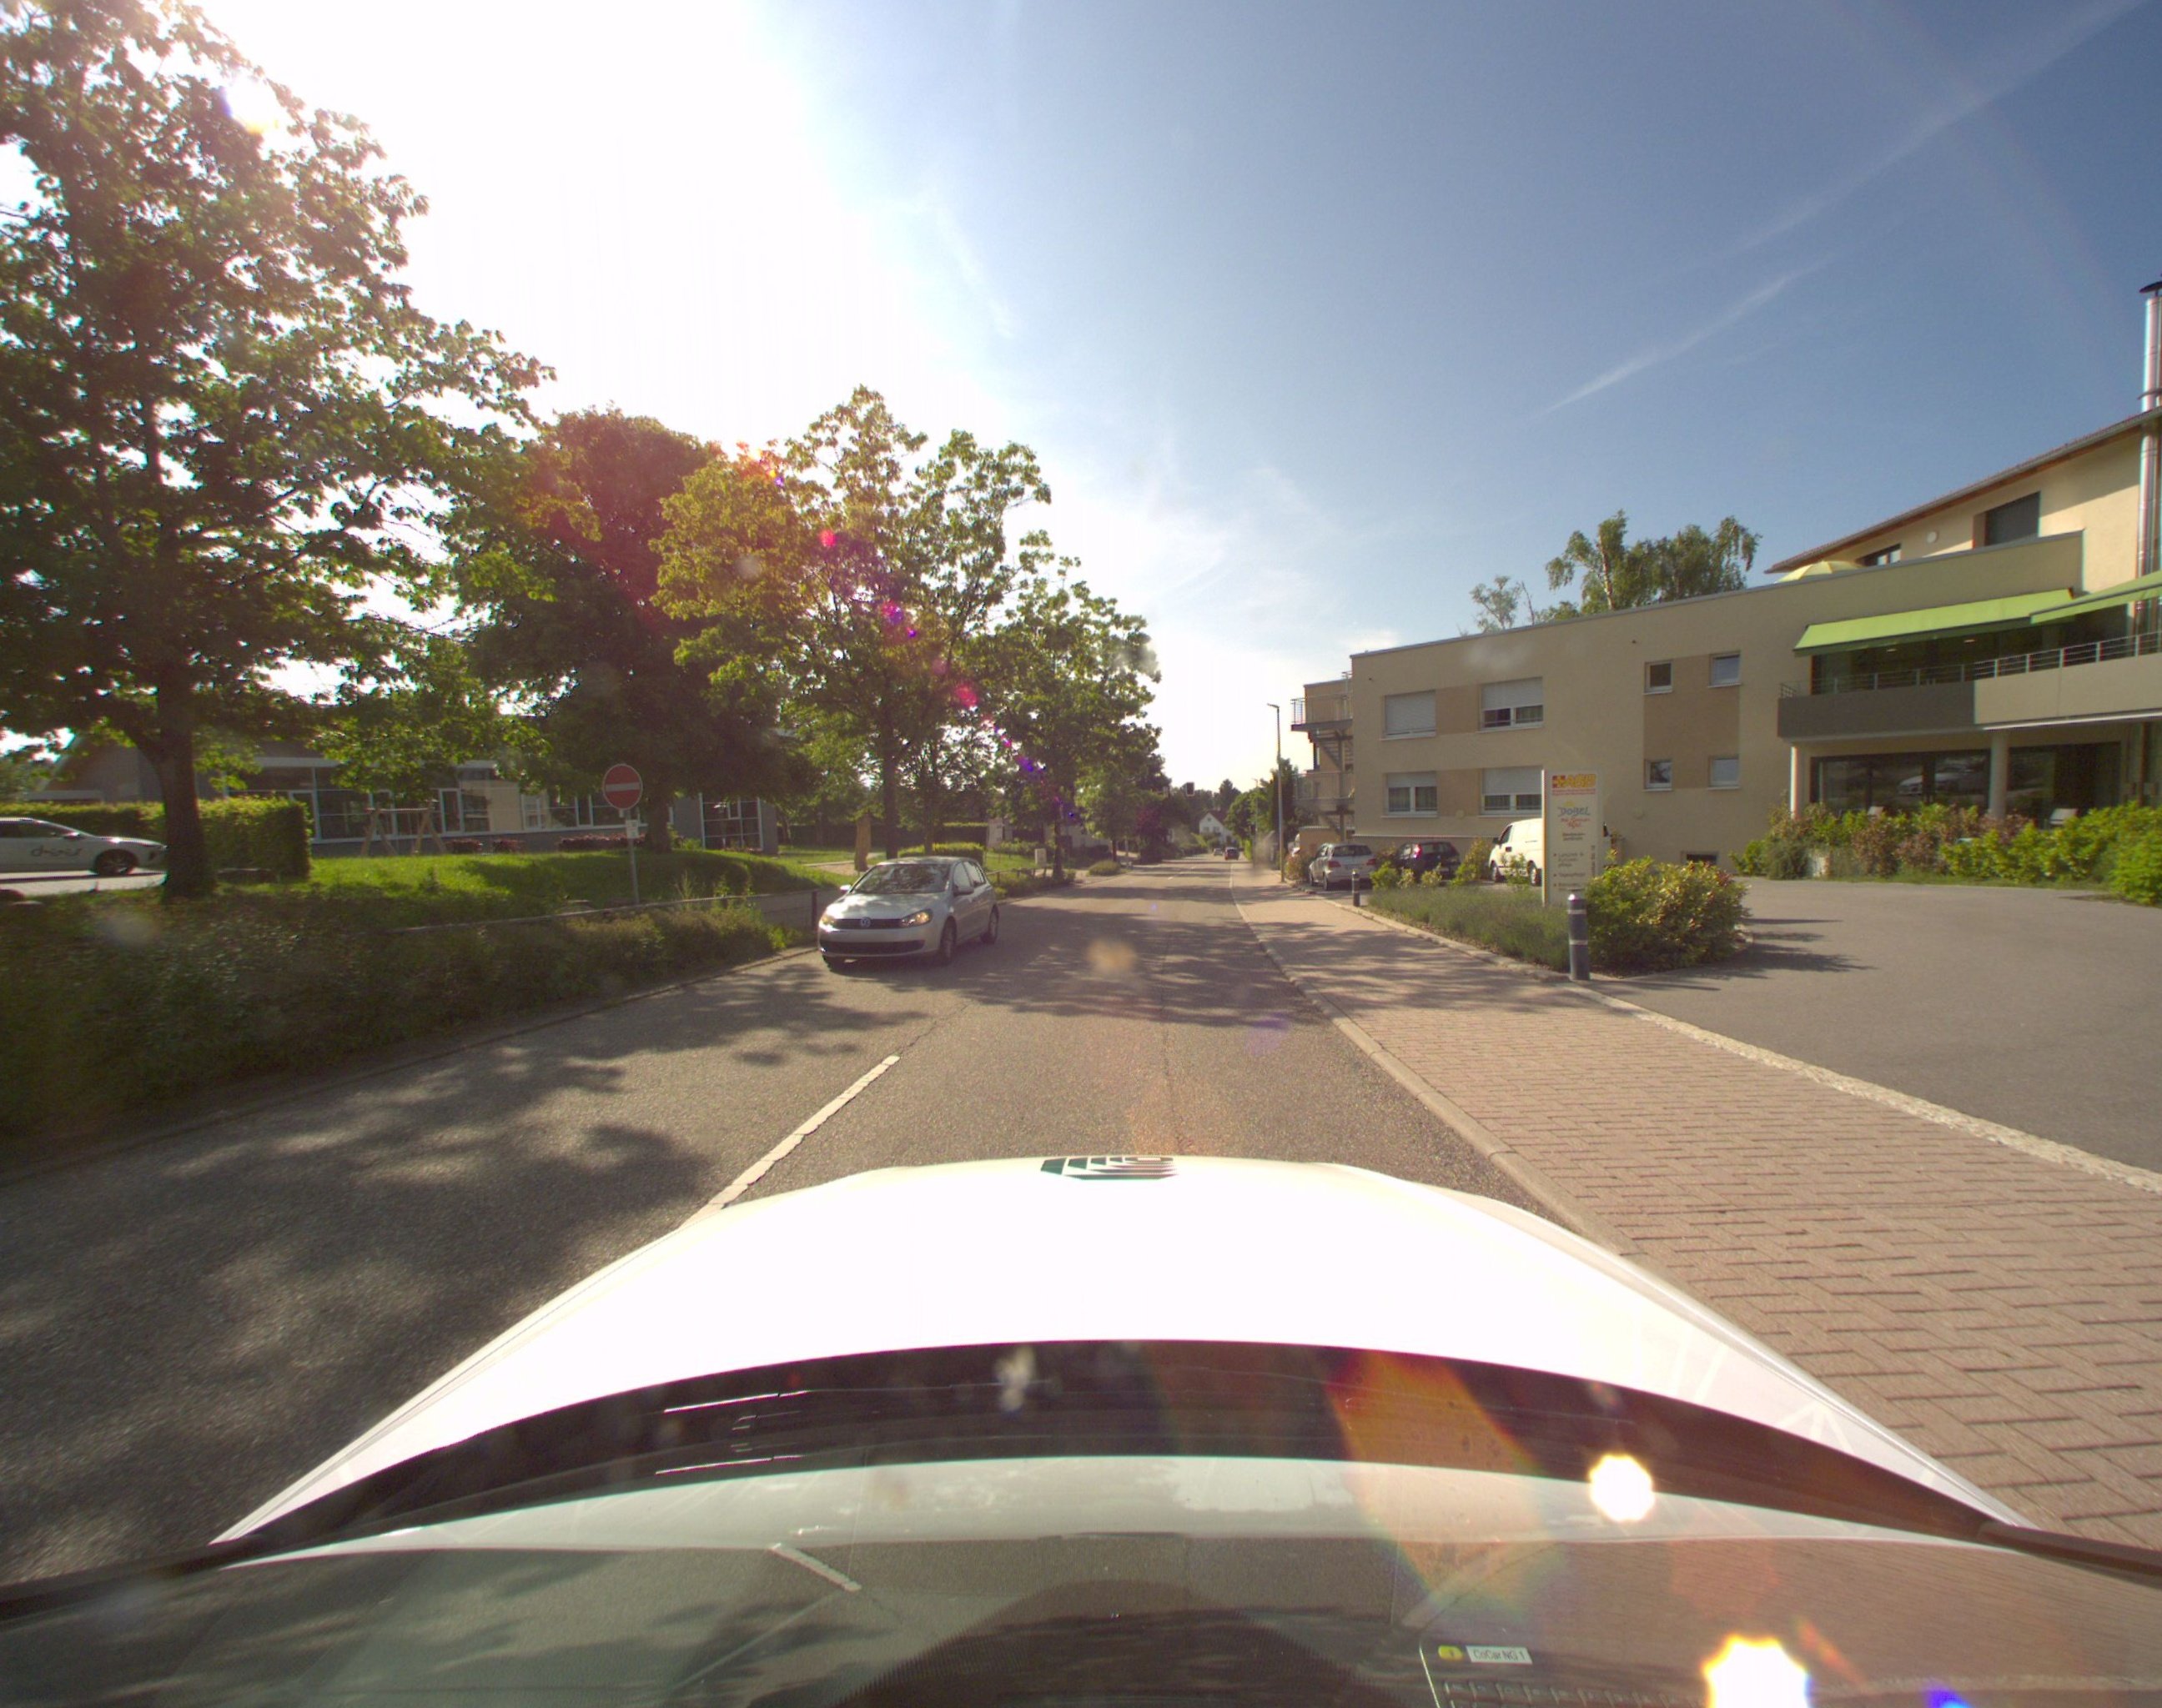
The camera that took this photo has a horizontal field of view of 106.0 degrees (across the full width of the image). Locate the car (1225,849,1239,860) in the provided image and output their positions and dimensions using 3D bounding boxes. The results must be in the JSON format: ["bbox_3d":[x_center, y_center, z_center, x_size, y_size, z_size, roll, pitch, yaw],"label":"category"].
[{"bbox_3d":[20.906,-0.007,112.884,1.698,1.427,4.016,-2,0,8],"label":"car"}]

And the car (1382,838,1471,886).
[{"bbox_3d":[11.460,0.225,27.273,1.698,1.427,4.016,-2,0,8],"label":"car"}]

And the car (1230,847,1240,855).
[{"bbox_3d":[29.234,-0.554,154.783,1.698,1.427,4.016,-2,0,8],"label":"car"}]

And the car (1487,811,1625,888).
[{"bbox_3d":[13.618,-0.129,23.703,1.793,1.935,4.745,-2,0,8],"label":"car"}]

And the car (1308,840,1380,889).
[{"bbox_3d":[9.164,0.328,28.658,1.698,1.535,4.016,-2,0,8],"label":"car"}]

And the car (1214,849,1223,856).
[{"bbox_3d":[29.610,-0.305,174.952,1.697,1.427,4.020,-2,0,12],"label":"car"}]

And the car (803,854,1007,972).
[{"bbox_3d":[-2.423,0.748,12.343,1.719,1.443,4.074,-1,0,8],"label":"car"}]

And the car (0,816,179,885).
[{"bbox_3d":[-27.072,-0.104,21.015,1.975,1.533,4.762,4,6,33],"label":"car"}]
